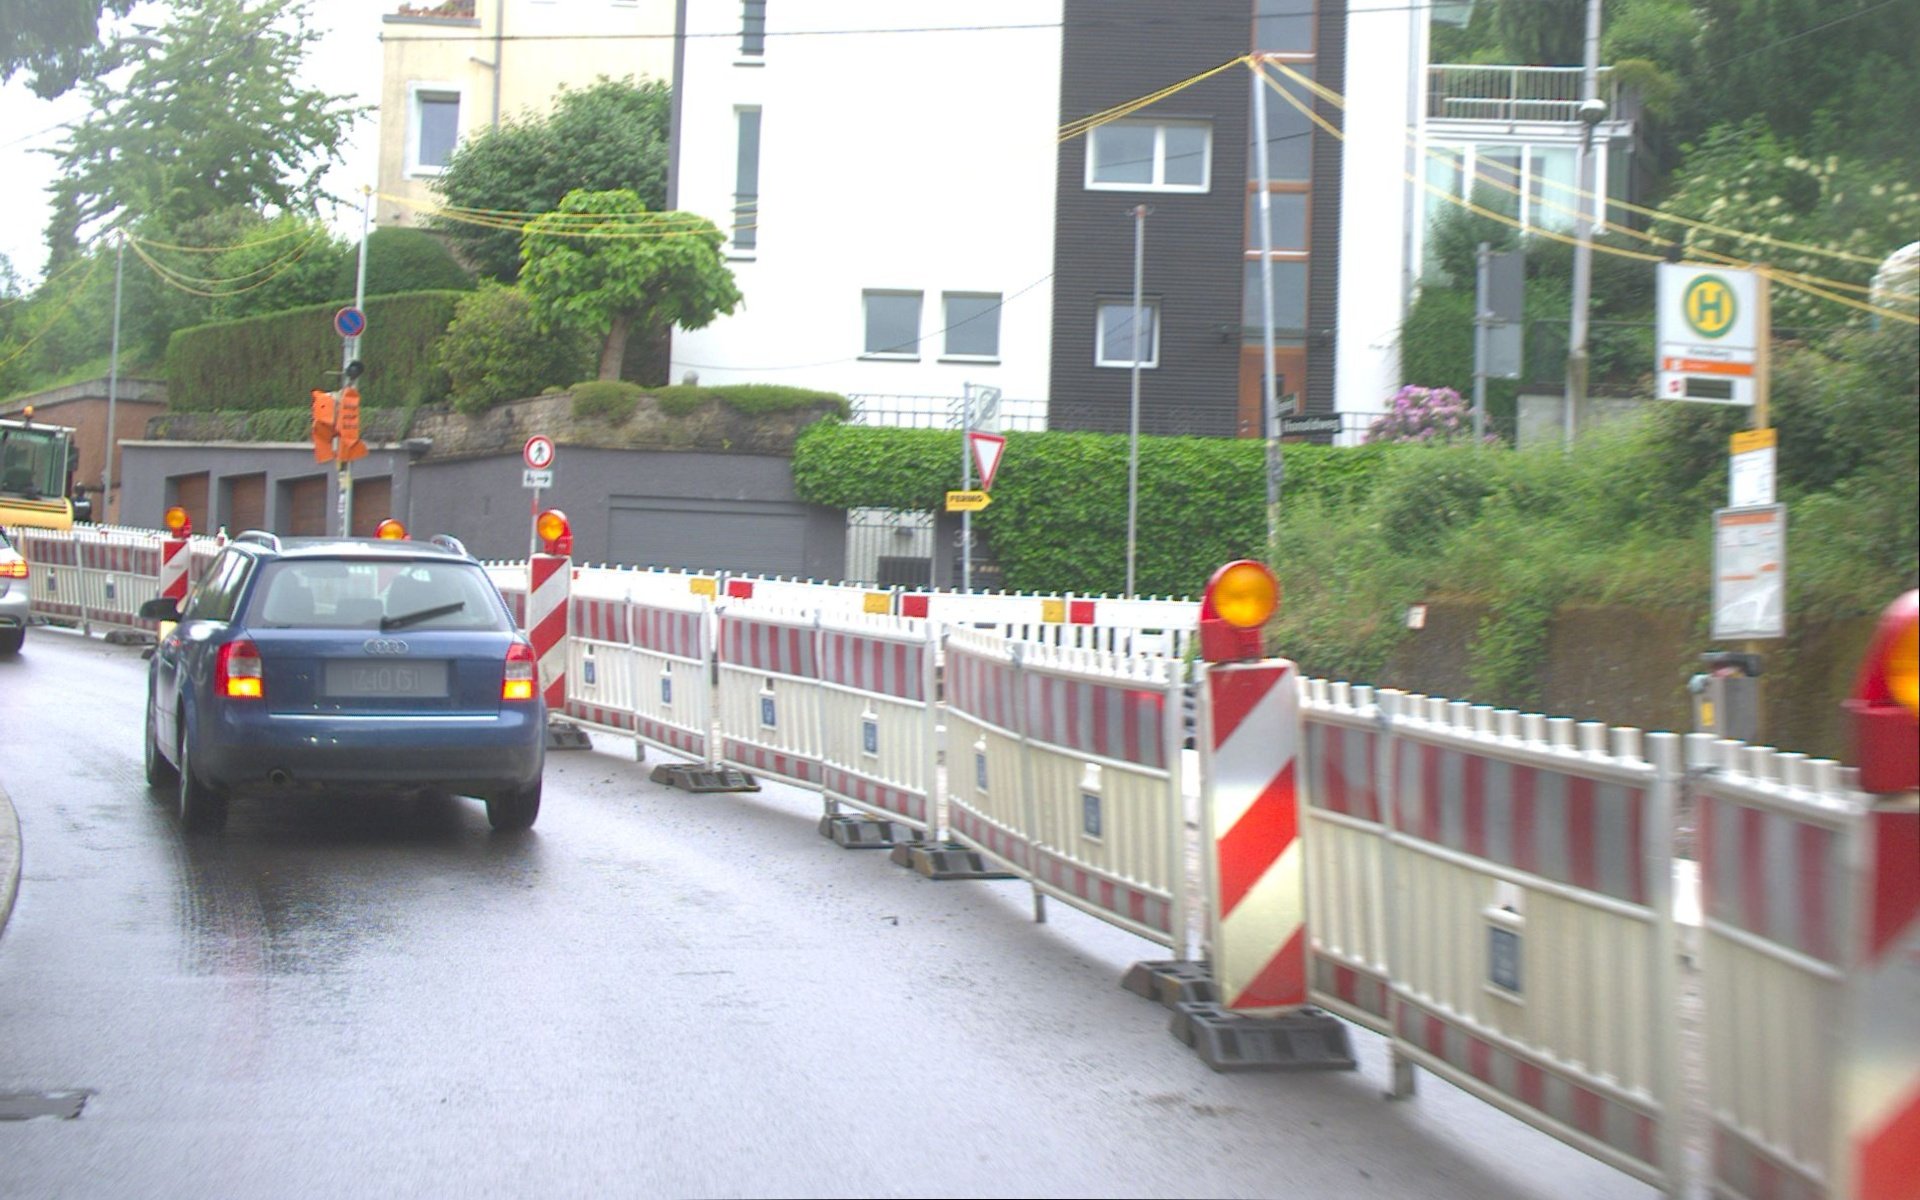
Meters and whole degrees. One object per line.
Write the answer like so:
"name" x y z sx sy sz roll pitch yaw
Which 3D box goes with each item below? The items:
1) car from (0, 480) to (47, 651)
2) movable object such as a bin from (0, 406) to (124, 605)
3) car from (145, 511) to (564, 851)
"car" -10.496 -0.348 33.999 1.926 1.612 4.321 0 1 -28
"movable object such as a bin" -13.061 -1.358 47.391 1.993 2.604 4.001 0 3 -29
"car" -3.243 0.337 17.809 1.785 1.437 3.965 3 2 -14
